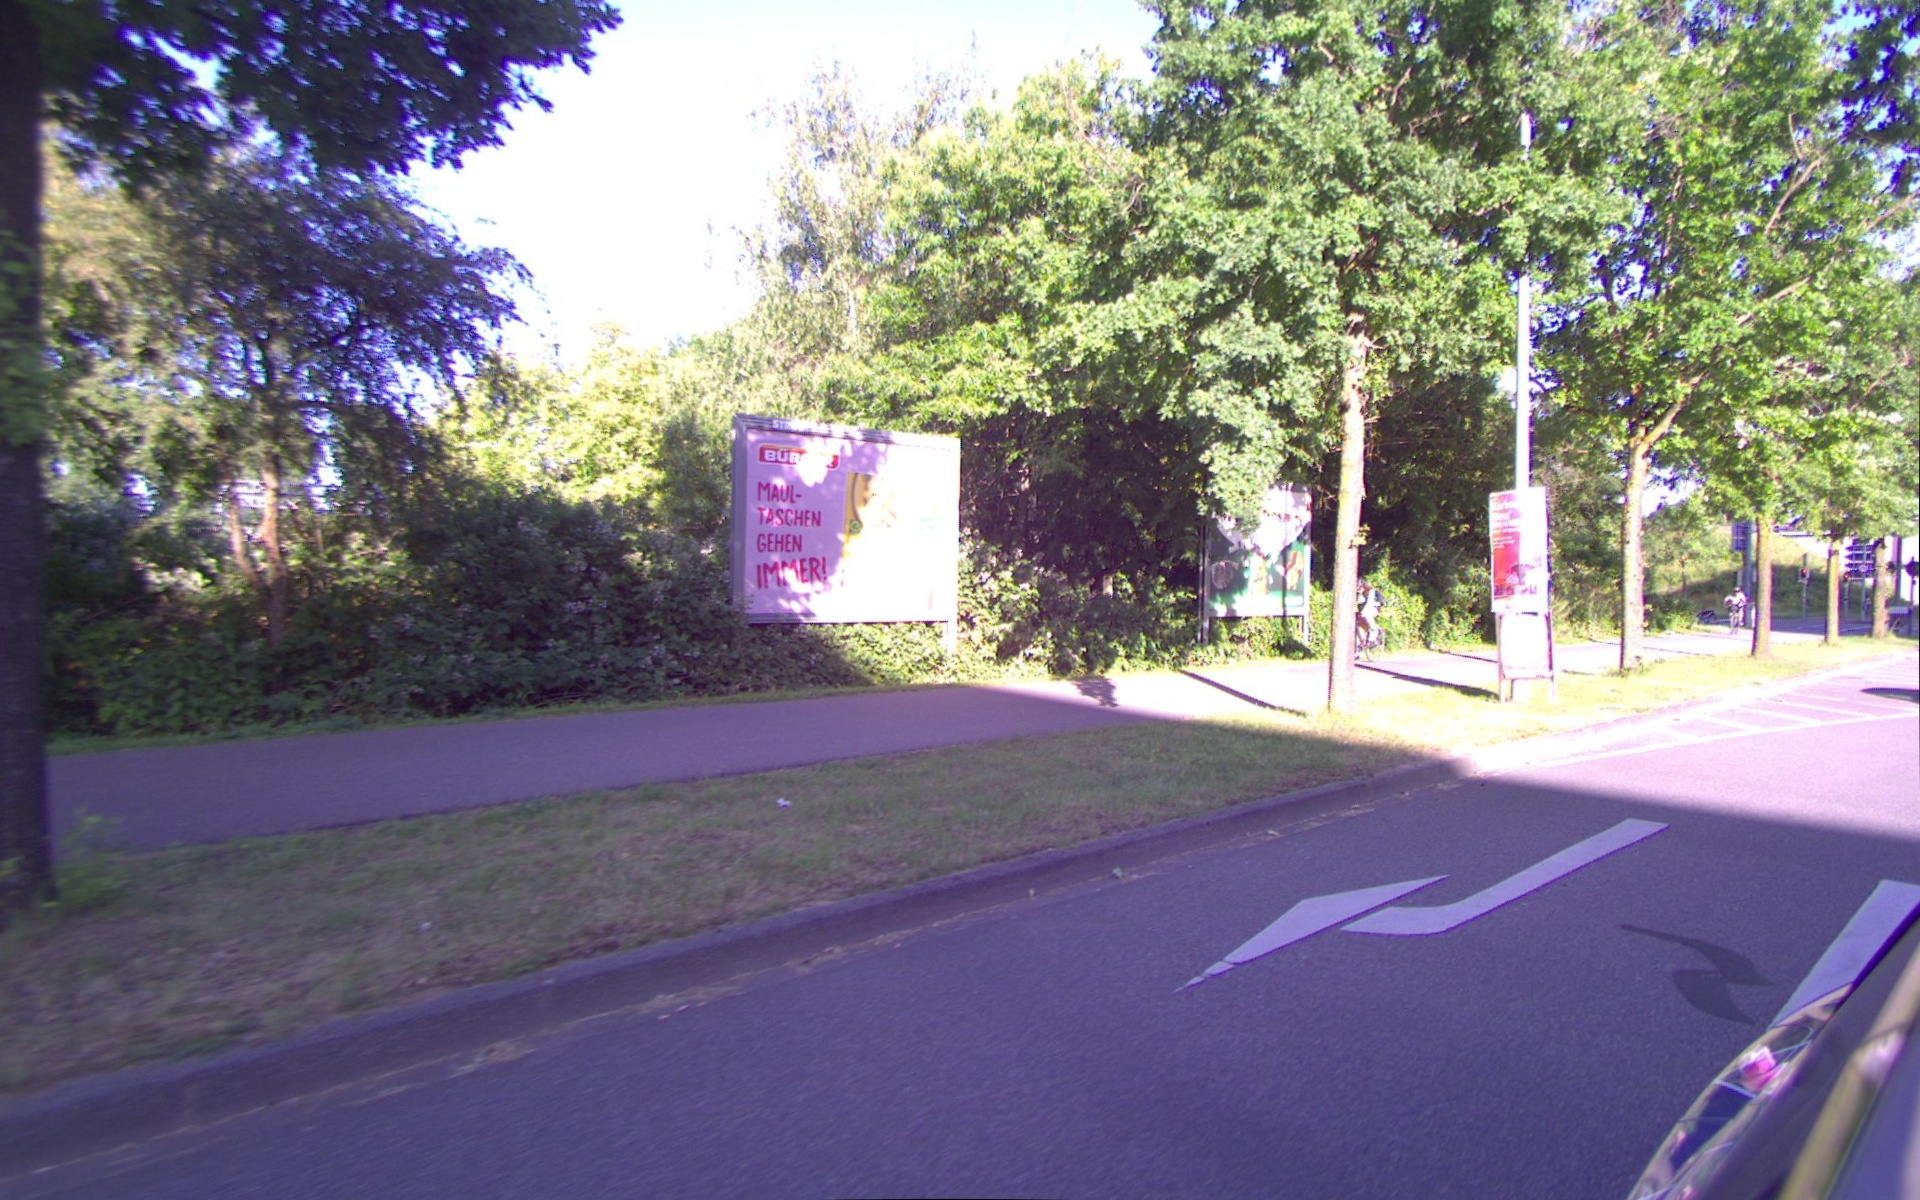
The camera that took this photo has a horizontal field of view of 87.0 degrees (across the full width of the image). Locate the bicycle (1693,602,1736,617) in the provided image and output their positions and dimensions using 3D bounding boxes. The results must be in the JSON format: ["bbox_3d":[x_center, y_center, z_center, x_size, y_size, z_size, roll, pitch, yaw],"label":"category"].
[{"bbox_3d":[36.315,0.447,48.742,0.830,0.629,2.186,3,2,14],"label":"bicycle"}]

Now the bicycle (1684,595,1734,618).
[{"bbox_3d":[37.479,0.309,50.656,0.445,1.066,1.999,0,1,-28],"label":"bicycle"}]

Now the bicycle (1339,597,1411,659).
[{"bbox_3d":[7.780,0.501,18.928,1.904,1.086,0.516,0,2,-44],"label":"bicycle"}]

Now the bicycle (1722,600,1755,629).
[{"bbox_3d":[27.965,0.518,36.336,2.011,1.004,0.572,0,1,-42],"label":"bicycle"}]

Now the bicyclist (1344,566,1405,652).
[{"bbox_3d":[7.721,0.148,18.842,1.019,1.541,0.685,0,1,-44],"label":"bicyclist"}]

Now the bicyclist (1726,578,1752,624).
[{"bbox_3d":[27.900,0.017,36.236,0.850,1.630,0.566,0,1,-42],"label":"bicyclist"}]
